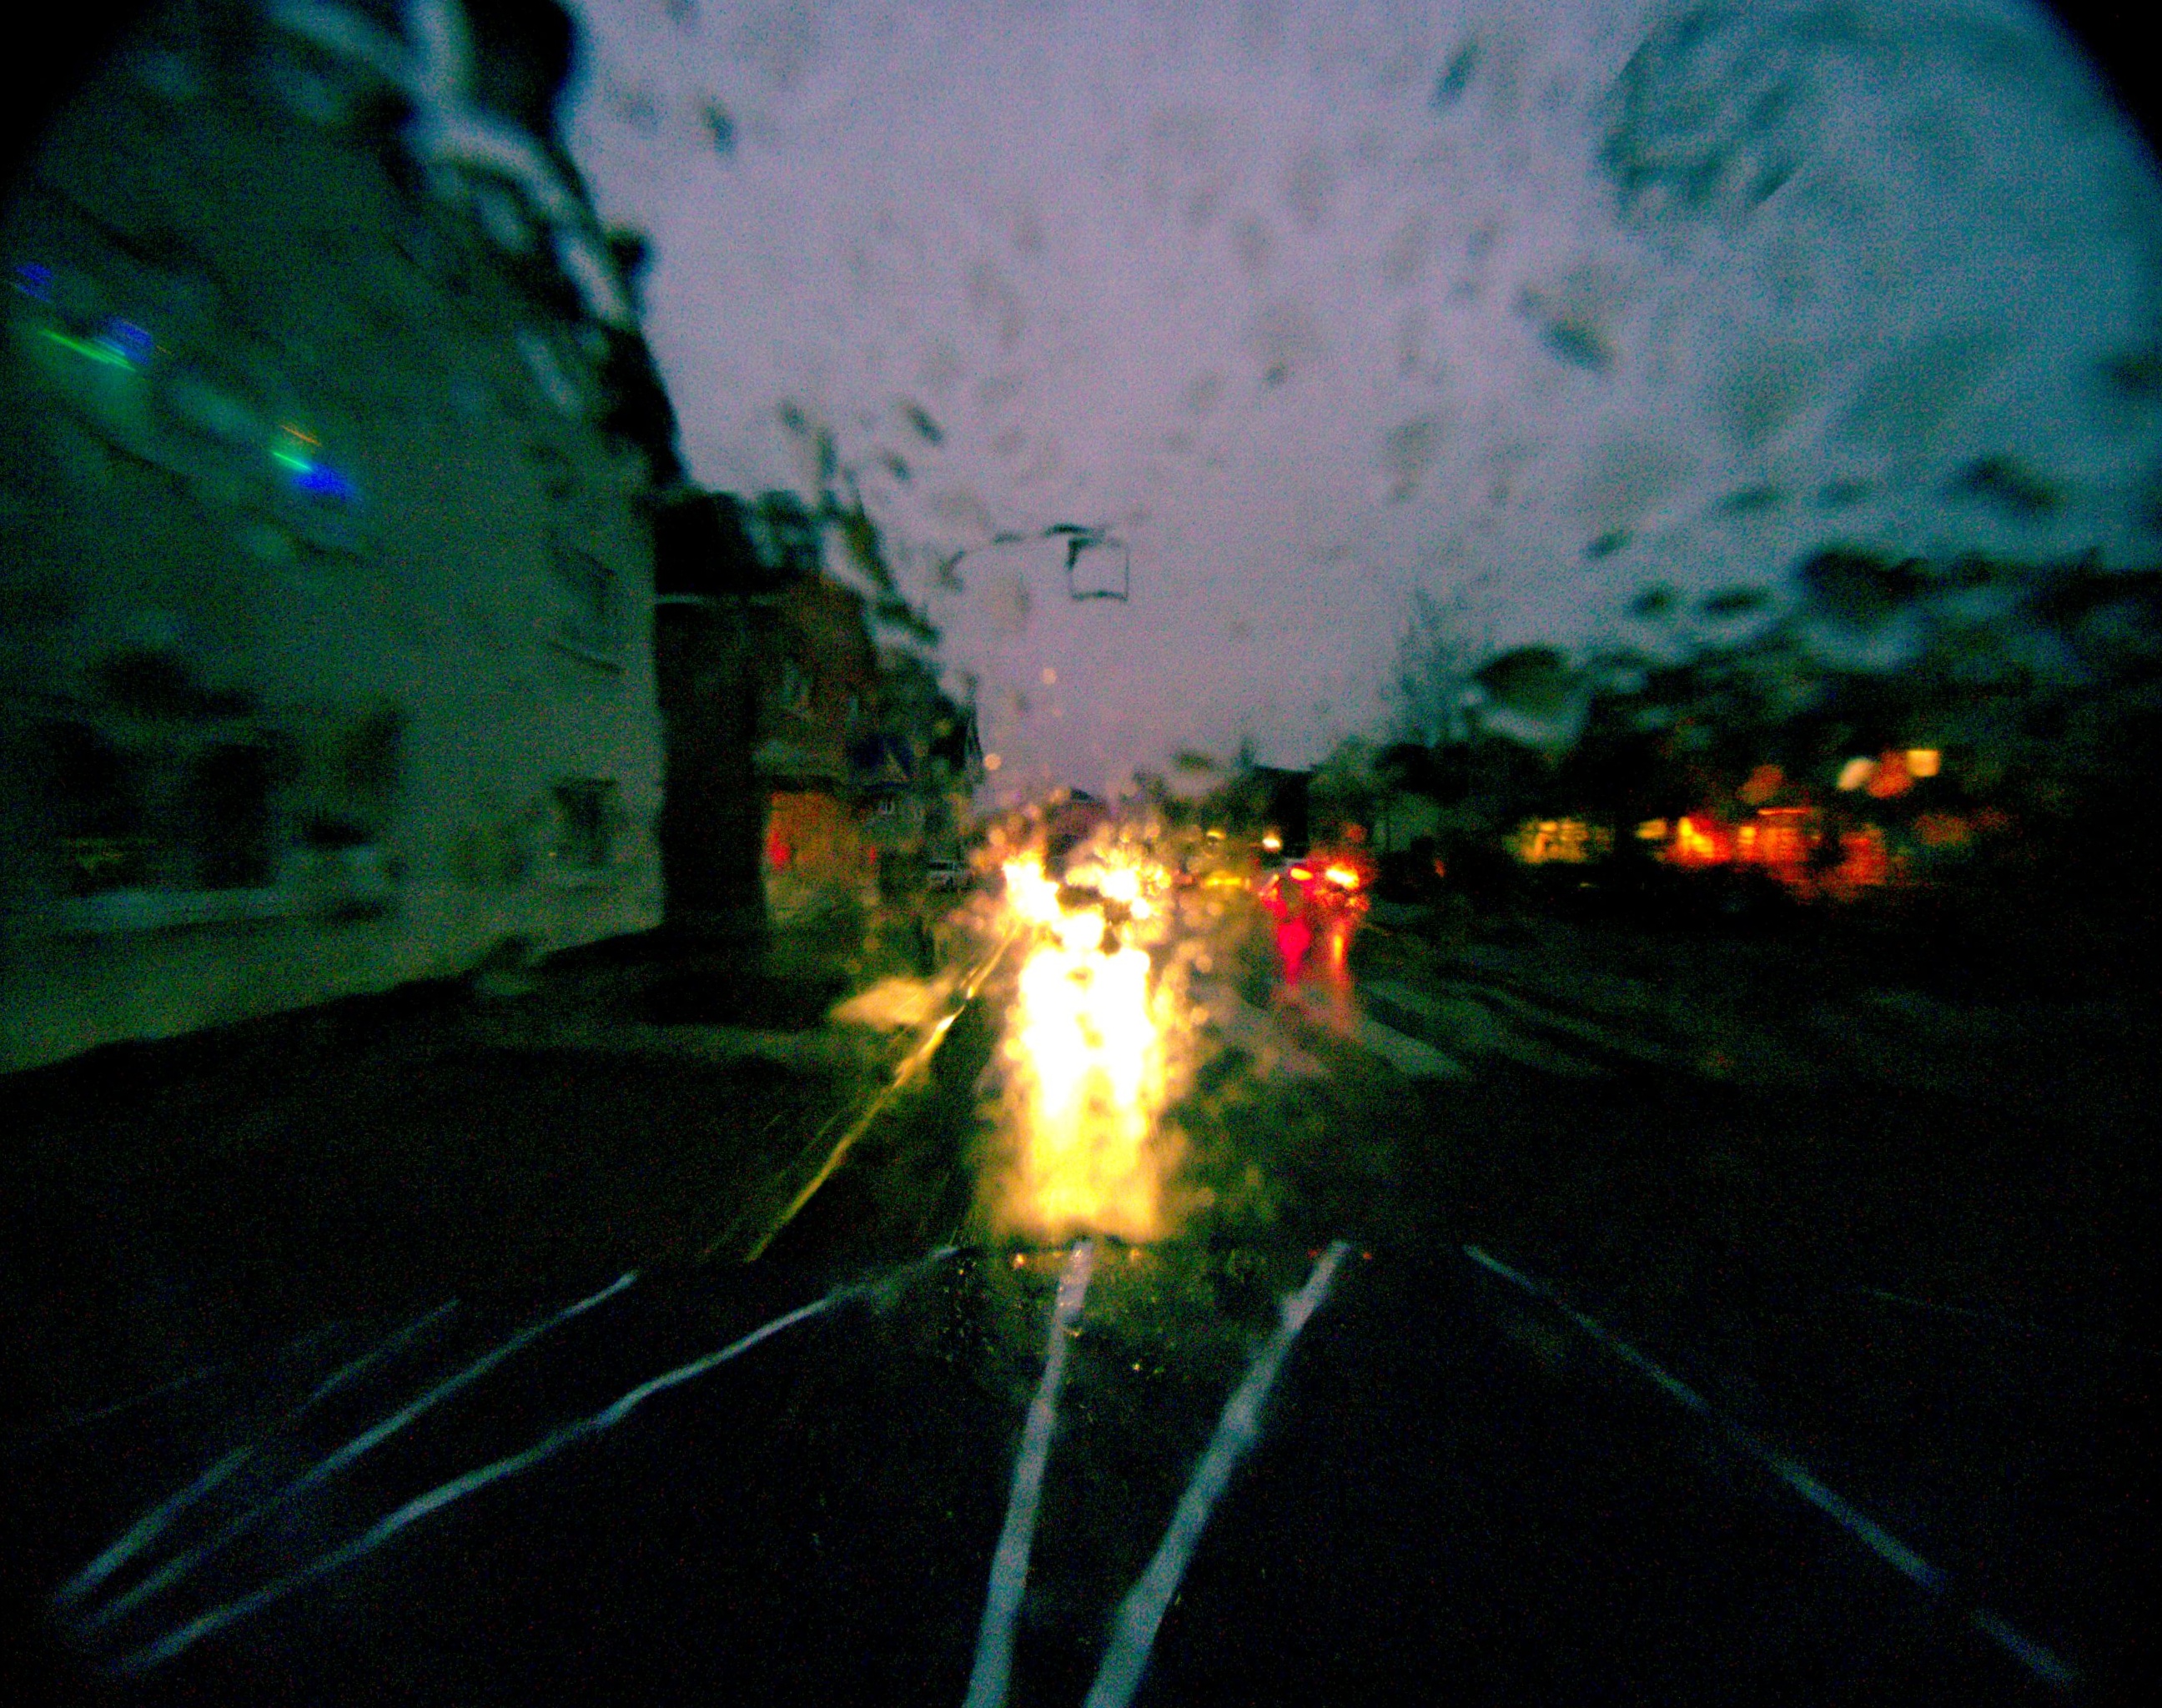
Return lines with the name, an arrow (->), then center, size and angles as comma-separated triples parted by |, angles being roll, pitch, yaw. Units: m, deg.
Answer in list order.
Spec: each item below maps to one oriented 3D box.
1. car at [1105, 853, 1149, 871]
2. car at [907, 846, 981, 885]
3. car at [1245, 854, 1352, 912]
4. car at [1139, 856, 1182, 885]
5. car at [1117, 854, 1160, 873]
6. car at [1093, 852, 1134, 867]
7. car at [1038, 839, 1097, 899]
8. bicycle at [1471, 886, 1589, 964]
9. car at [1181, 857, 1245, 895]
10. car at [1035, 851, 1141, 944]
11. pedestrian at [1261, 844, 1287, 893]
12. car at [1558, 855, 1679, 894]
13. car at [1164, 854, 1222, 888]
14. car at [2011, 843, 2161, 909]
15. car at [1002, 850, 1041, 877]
car -> 4.426, 0.737, 72.488 | 3.995, 1.538, 2.001 | -2, 0, 7
car -> -5.880, 0.443, 33.234 | 1.934, 1.477, 4.697 | -2, 1, 6
car -> 6.324, 0.774, 22.595 | 1.789, 1.480, 4.181 | -2, 1, -3
car -> 4.643, 0.917, 44.899 | 1.840, 1.526, 4.138 | -2, 0, -3
car -> 5.326, 0.873, 69.904 | 3.840, 1.537, 2.001 | -2, 0, 5
car -> 3.226, 0.537, 75.390 | 3.996, 1.291, 2.000 | -2, 0, 2
car -> -0.473, 0.518, 28.700 | 1.999, 2.002, 3.999 | -2, 0, 0
bicycle -> 6.691, 1.020, 11.426 | 0.325, 1.055, 1.742 | 4, -3, -17
car -> 5.475, 0.853, 31.973 | 1.699, 1.423, 4.376 | -2, 0, -2
car -> 0.042, 0.839, 16.767 | 1.999, 1.720, 3.999 | -2, 0, -3
pedestrian -> 7.975, 0.588, 31.478 | 0.902, 2.002, 0.791 | -1, 0, 7
car -> 22.973, 0.830, 32.681 | 2.000, 1.554, 3.996 | 0, 0, -10
car -> 5.444, 0.779, 37.364 | 1.880, 1.526, 3.669 | -2, 0, -7
car -> 30.307, 0.601, 22.431 | 4.001, 1.833, 1.998 | 0, 0, -12
car -> -4.461, 0.720, 56.796 | 2.001, 1.844, 3.994 | -2, 0, -17
